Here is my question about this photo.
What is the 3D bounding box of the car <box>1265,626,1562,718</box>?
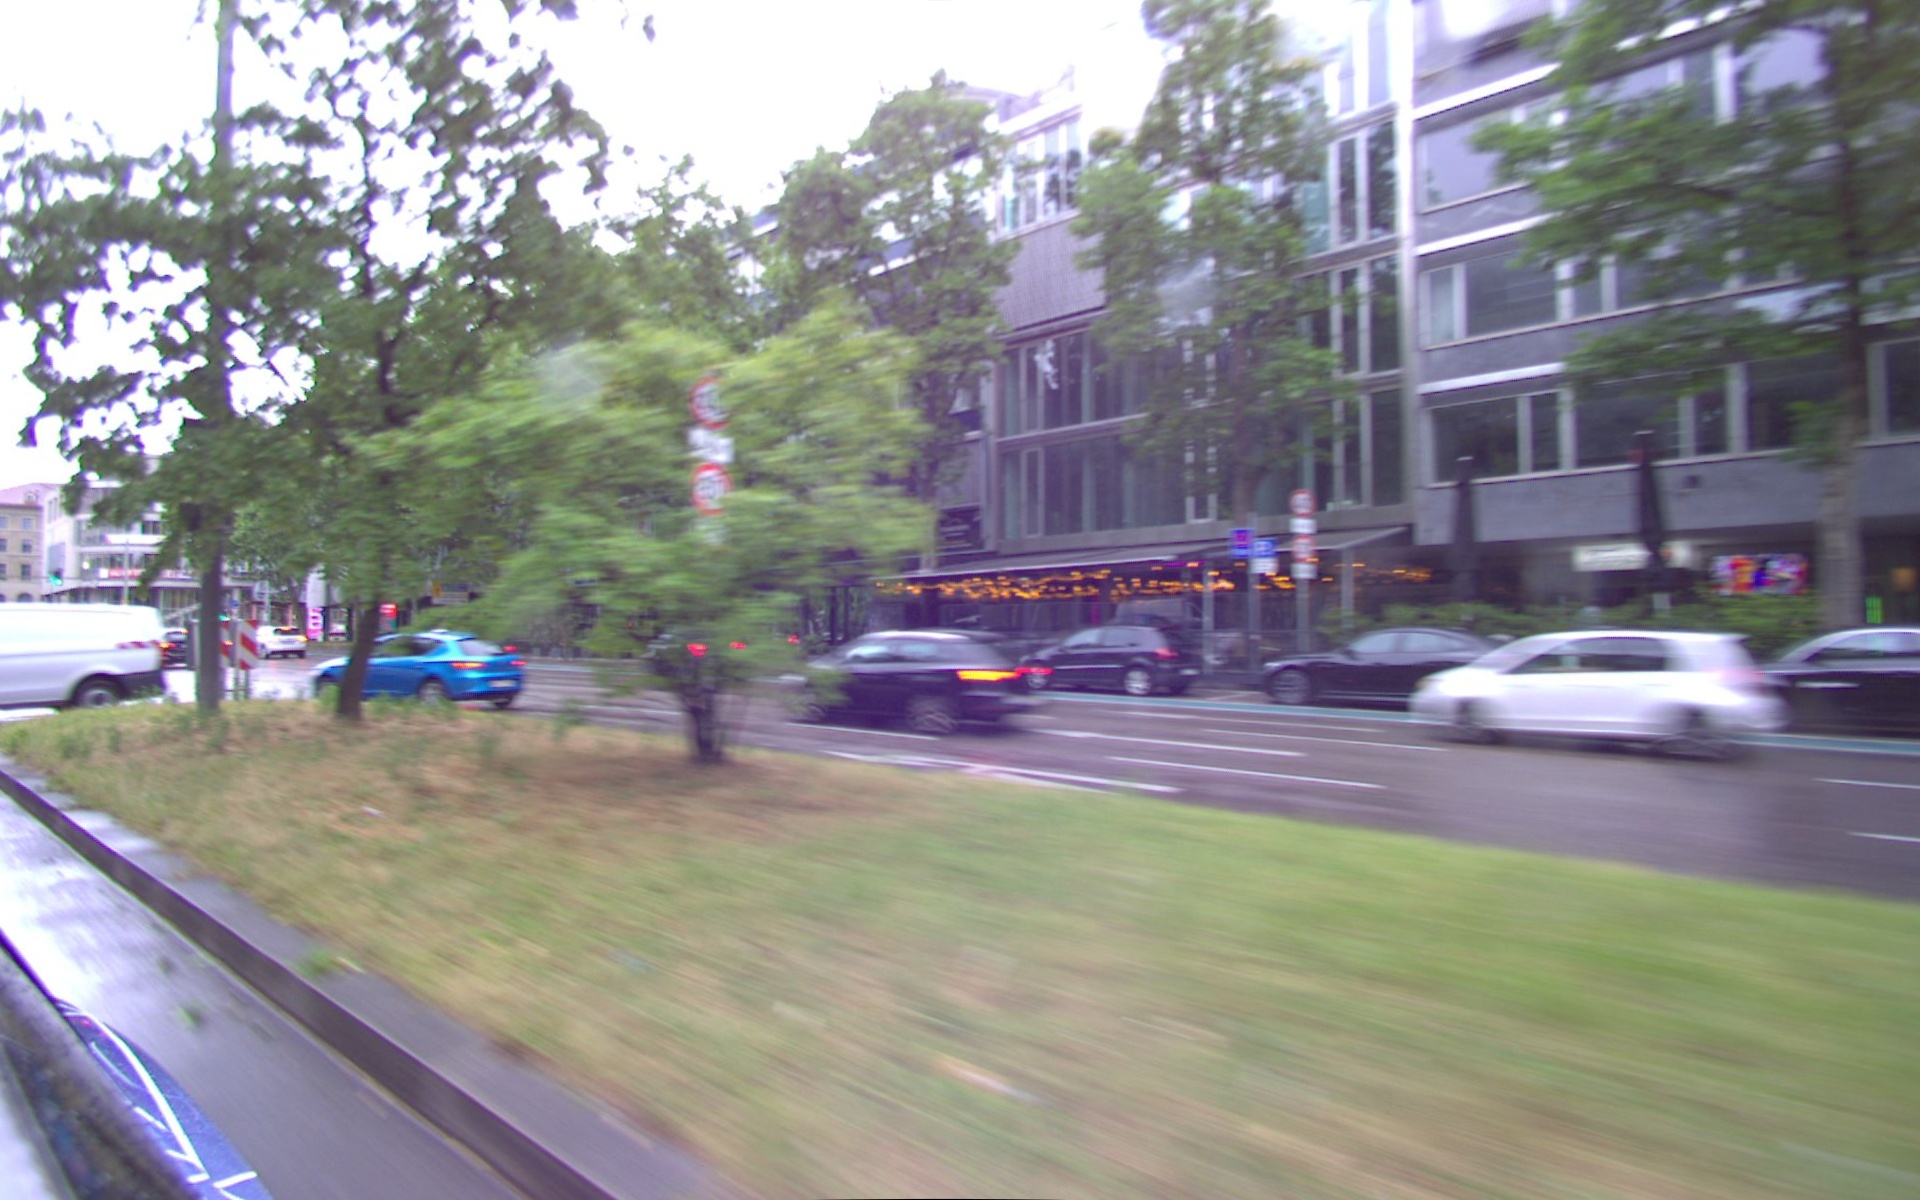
[{"bbox_3d":[7.842,1.205,17.769,4.453,1.420,1.675,-2,-3,40],"label":"car"}]

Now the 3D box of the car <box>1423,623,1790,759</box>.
[{"bbox_3d":[7.982,1.031,12.639,3.640,1.440,1.824,-2,-3,40],"label":"car"}]

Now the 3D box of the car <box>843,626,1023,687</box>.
[{"bbox_3d":[-0.765,1.387,25.295,4.679,1.364,1.543,-3,-2,41],"label":"car"}]

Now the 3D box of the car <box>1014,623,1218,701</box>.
[{"bbox_3d":[3.314,1.301,21.849,3.997,1.519,1.818,-2,-3,40],"label":"car"}]

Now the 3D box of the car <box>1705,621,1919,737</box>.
[{"bbox_3d":[12.443,1.036,13.872,3.457,1.480,1.676,-2,-3,40],"label":"car"}]

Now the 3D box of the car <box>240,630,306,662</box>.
[{"bbox_3d":[-35.130,2.347,51.736,3.996,1.577,1.735,-2,-2,40],"label":"car"}]

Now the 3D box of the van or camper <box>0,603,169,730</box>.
[{"bbox_3d":[-15.710,1.032,15.623,1.997,1.928,5.184,-2,-3,38],"label":"van or camper"}]

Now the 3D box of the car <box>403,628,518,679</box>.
[{"bbox_3d":[-15.426,1.608,31.192,4.093,1.487,1.731,-2,-3,41],"label":"car"}]

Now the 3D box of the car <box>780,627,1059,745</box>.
[{"bbox_3d":[-0.692,1.179,15.236,4.092,1.487,1.731,-1,0,39],"label":"car"}]

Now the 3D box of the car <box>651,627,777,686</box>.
[{"bbox_3d":[-6.315,1.429,25.830,3.047,1.378,1.701,-3,-3,42],"label":"car"}]

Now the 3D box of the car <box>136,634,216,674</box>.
[{"bbox_3d":[-30.843,2.095,39.780,4.093,1.487,1.731,-2,-3,41],"label":"car"}]

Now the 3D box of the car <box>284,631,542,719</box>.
[{"bbox_3d":[-10.195,1.393,18.887,4.363,1.493,1.837,-3,-2,21],"label":"car"}]
